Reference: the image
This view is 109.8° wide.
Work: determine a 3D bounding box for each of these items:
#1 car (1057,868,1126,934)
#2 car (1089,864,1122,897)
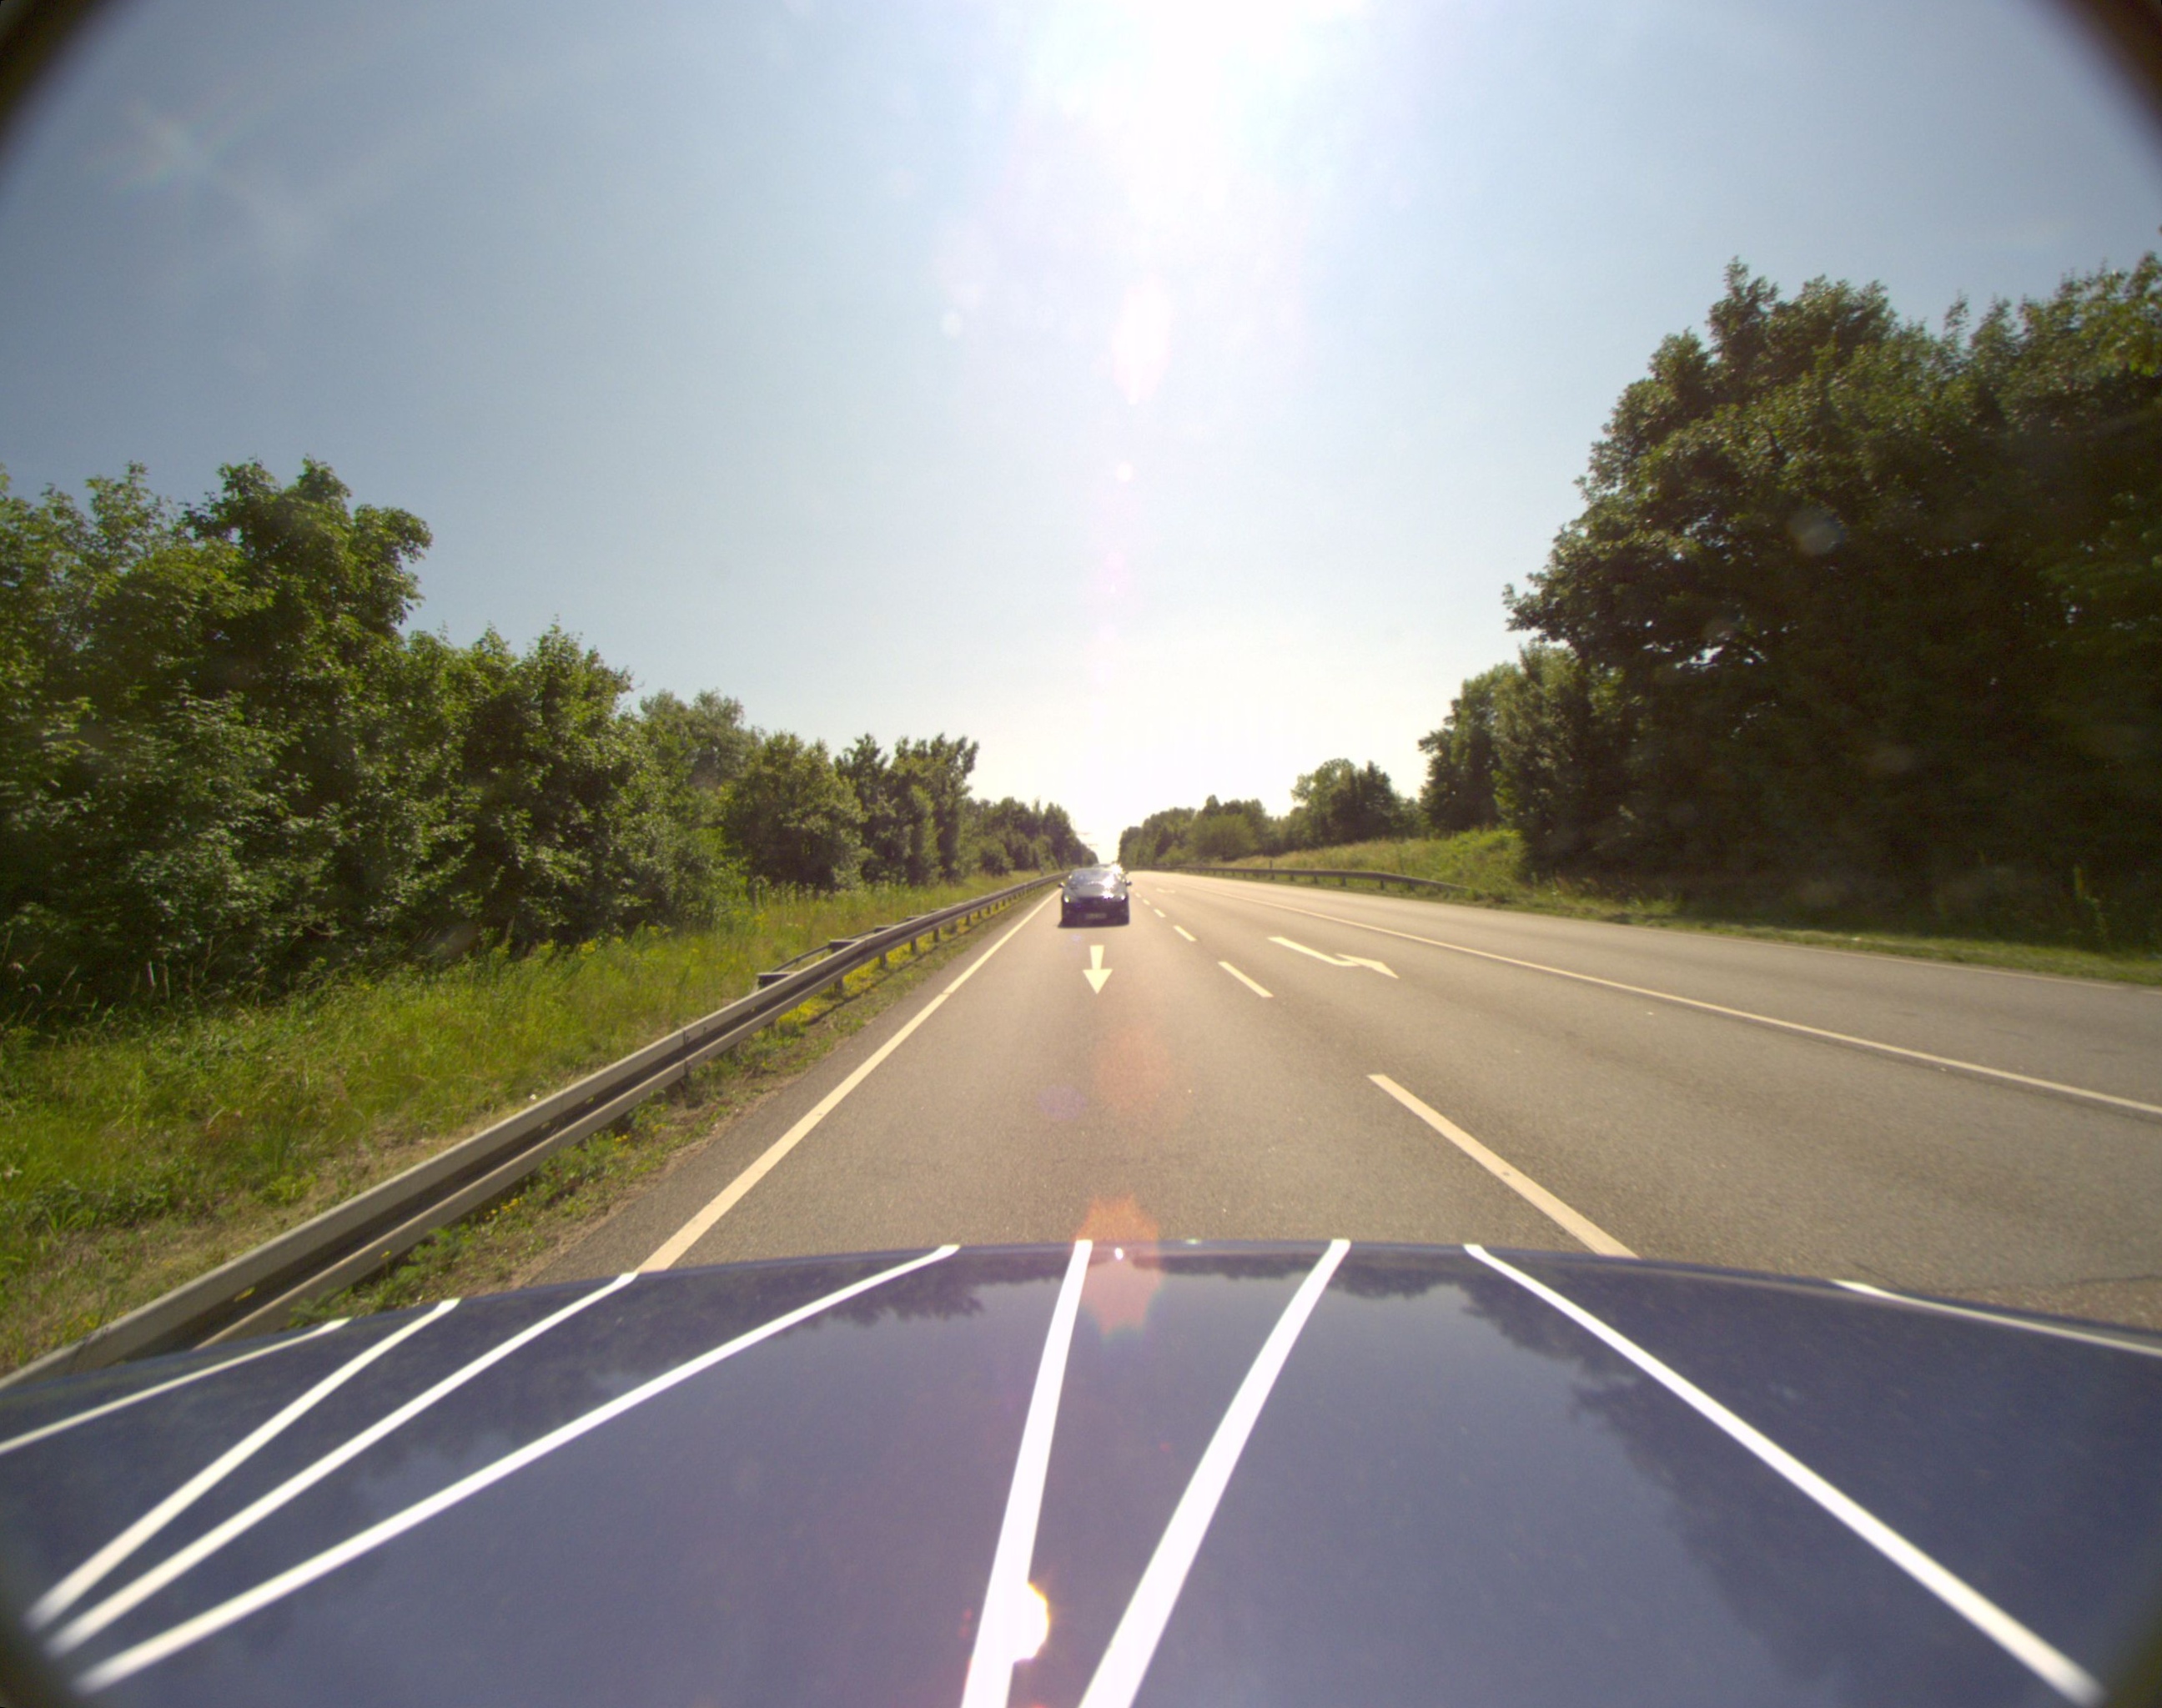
[{"bbox_3d":[0.296,1.089,18.800,1.529,1.387,3.444,-1,0,2],"label":"car"},{"bbox_3d":[1.126,1.225,36.102,1.443,1.442,3.299,-2,-1,0],"label":"car"}]
